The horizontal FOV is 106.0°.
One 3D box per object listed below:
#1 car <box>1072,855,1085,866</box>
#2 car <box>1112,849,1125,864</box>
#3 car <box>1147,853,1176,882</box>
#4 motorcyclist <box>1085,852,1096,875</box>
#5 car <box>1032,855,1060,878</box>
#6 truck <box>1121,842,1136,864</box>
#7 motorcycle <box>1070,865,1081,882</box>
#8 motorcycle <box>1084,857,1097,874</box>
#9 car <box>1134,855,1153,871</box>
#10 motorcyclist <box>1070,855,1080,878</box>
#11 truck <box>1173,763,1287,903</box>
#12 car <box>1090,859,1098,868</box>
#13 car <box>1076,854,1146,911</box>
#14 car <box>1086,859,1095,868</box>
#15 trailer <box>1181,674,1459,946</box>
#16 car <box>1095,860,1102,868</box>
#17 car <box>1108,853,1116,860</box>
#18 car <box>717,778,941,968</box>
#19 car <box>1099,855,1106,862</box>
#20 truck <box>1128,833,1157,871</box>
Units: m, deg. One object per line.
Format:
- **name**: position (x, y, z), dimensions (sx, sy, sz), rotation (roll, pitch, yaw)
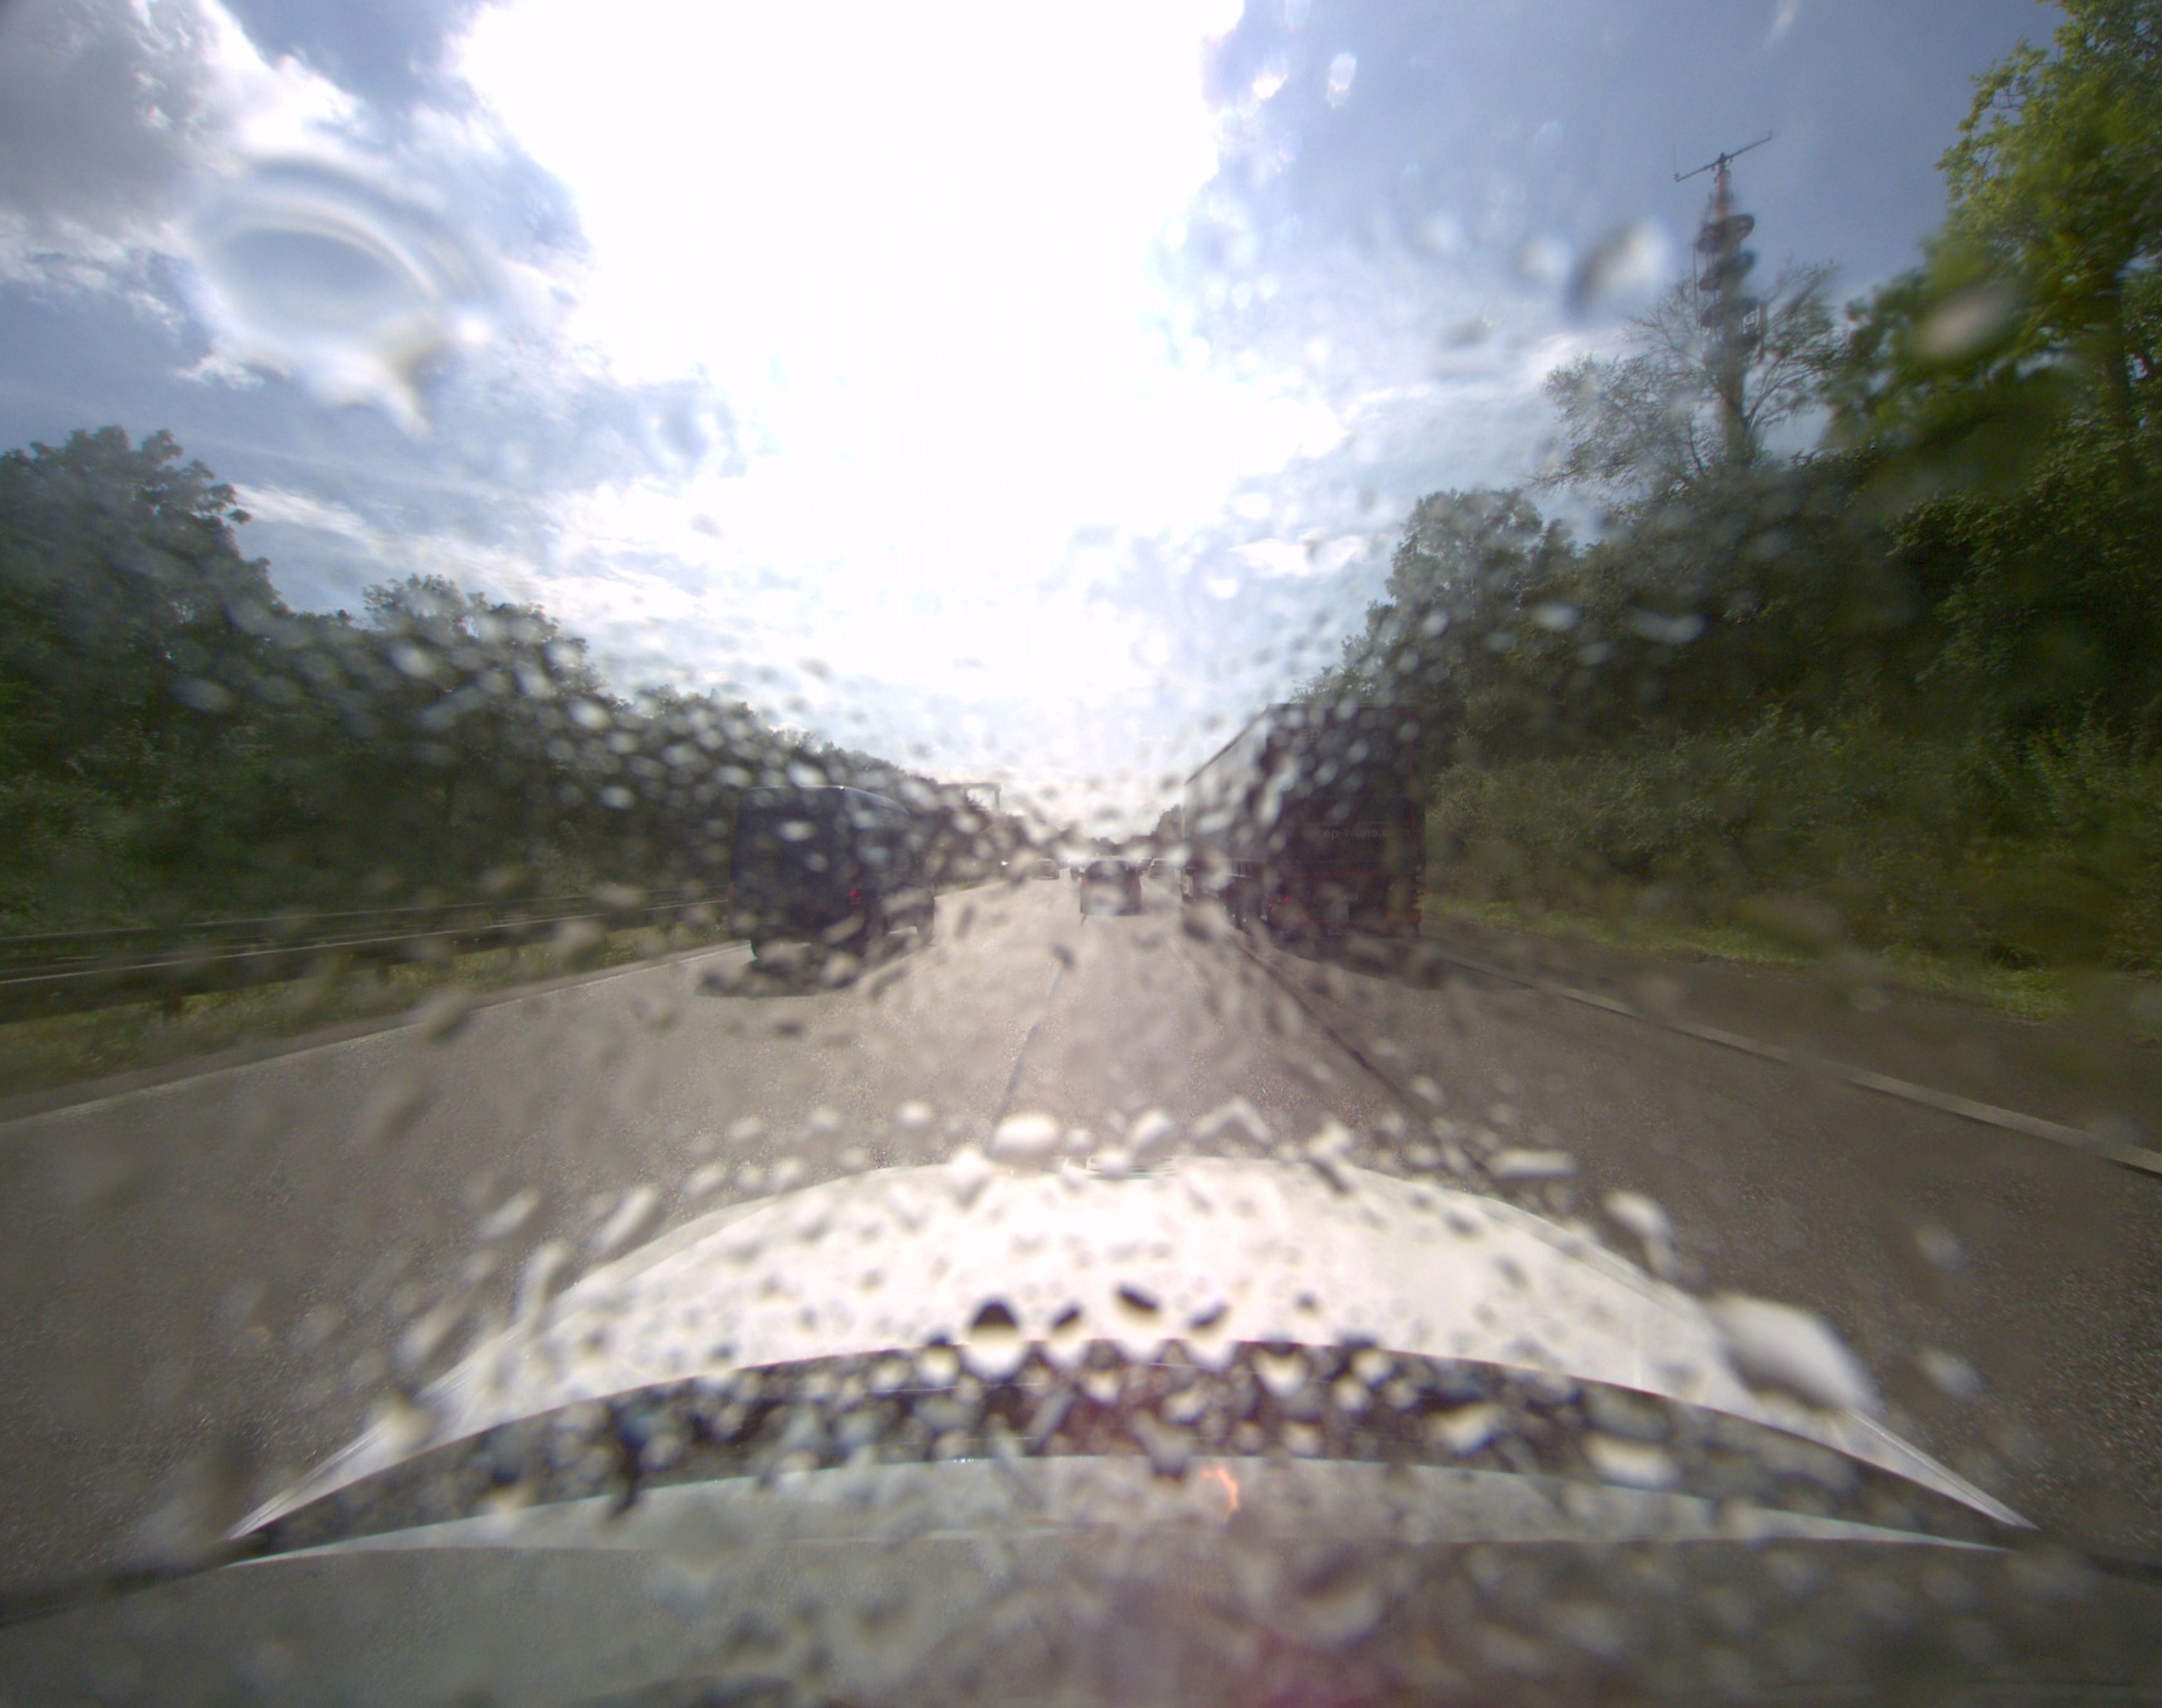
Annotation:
- **car**: position (-0.382, 0.961, 121.197), dimensions (1.886, 1.628, 4.196), rotation (-1, 0, 1)
- **car**: position (5.156, 0.363, 111.495), dimensions (1.669, 1.936, 3.774), rotation (-1, 0, 1)
- **car**: position (5.935, 0.993, 60.403), dimensions (1.842, 2.014, 4.089), rotation (0, -1, 2)
- **motorcyclist**: position (0.725, 0.741, 62.337), dimensions (0.819, 1.761, 1.389), rotation (0, -1, -2)
- **car**: position (-2.597, 0.910, 61.072), dimensions (1.752, 1.595, 4.331), rotation (-1, 0, 1)
- **truck**: position (10.424, -0.213, 180.485), dimensions (2.871, 4.688, 12.662), rotation (0, -1, 2)
- **motorcycle**: position (-0.394, 1.247, 53.637), dimensions (0.674, 1.087, 1.980), rotation (0, 0, -2)
- **motorcycle**: position (0.724, 0.878, 62.416), dimensions (0.817, 1.263, 2.115), rotation (0, 0, -2)
- **car**: position (6.188, 0.884, 80.855), dimensions (1.669, 1.490, 3.437), rotation (-1, 0, 1)
- **motorcyclist**: position (-0.400, 0.815, 53.595), dimensions (0.669, 1.442, 1.019), rotation (0, -1, -3)
- **truck**: position (4.959, -0.628, 28.282), dimensions (3.040, 4.325, 5.888), rotation (0, -1, 2)
- **car**: position (3.129, 2.275, 196.988), dimensions (1.986, 2.014, 4.001), rotation (0, -1, 1)
- **car**: position (0.873, 0.801, 24.584), dimensions (1.908, 1.565, 4.315), rotation (-1, 0, 1)
- **car**: position (1.830, 1.713, 150.753), dimensions (1.669, 1.597, 3.437), rotation (-1, 0, 1)
- **trailer**: position (4.679, -0.667, 20.072), dimensions (3.076, 4.312, 14.110), rotation (-1, 0, 2)
- **car**: position (4.620, 2.624, 214.371), dimensions (1.986, 2.014, 4.001), rotation (0, -1, 1)
- **car**: position (6.611, 0.597, 173.071), dimensions (1.626, 1.490, 3.437), rotation (-1, 0, 1)
- **car**: position (-4.045, 0.280, 14.341), dimensions (2.008, 2.648, 5.778), rotation (-1, 0, 1)
- **car**: position (6.356, 1.465, 239.358), dimensions (1.986, 2.014, 4.001), rotation (0, -1, 1)
- **truck**: position (7.528, -0.249, 100.406), dimensions (3.190, 4.404, 9.436), rotation (-1, 0, 2)
